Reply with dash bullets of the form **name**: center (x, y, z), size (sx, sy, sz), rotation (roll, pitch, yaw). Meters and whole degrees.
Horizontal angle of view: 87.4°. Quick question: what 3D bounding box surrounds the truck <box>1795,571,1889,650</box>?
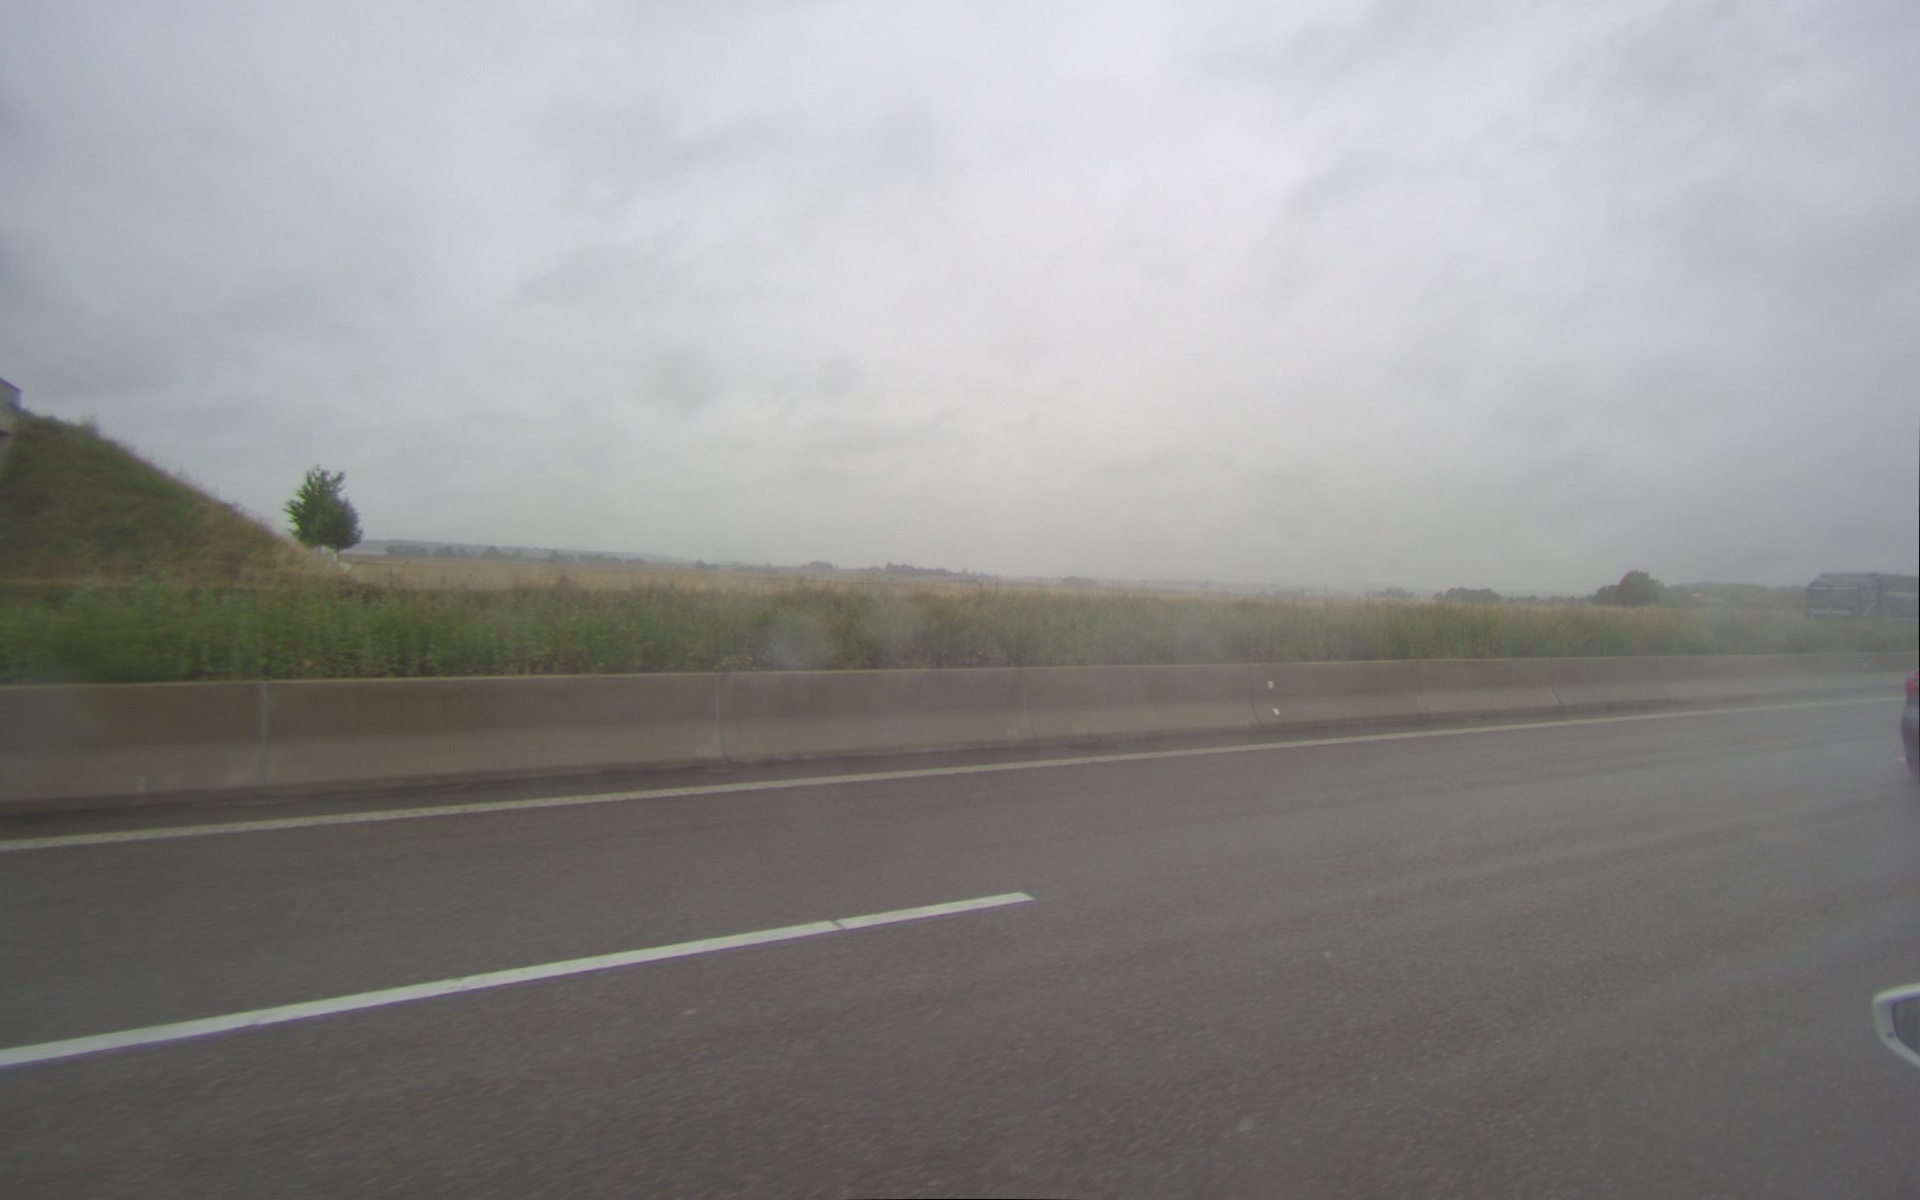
- **truck**: center (47.245, 0.564, 53.797), size (5.125, 4.037, 2.202), rotation (1, 1, -31)

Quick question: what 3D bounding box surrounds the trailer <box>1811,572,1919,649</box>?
- **trailer**: center (52.804, 0.694, 57.144), size (14.043, 4.051, 2.213), rotation (1, 1, -31)

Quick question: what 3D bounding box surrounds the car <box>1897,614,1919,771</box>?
- **car**: center (11.806, 0.962, 10.355), size (4.700, 1.533, 1.838), rotation (1, 0, -30)
